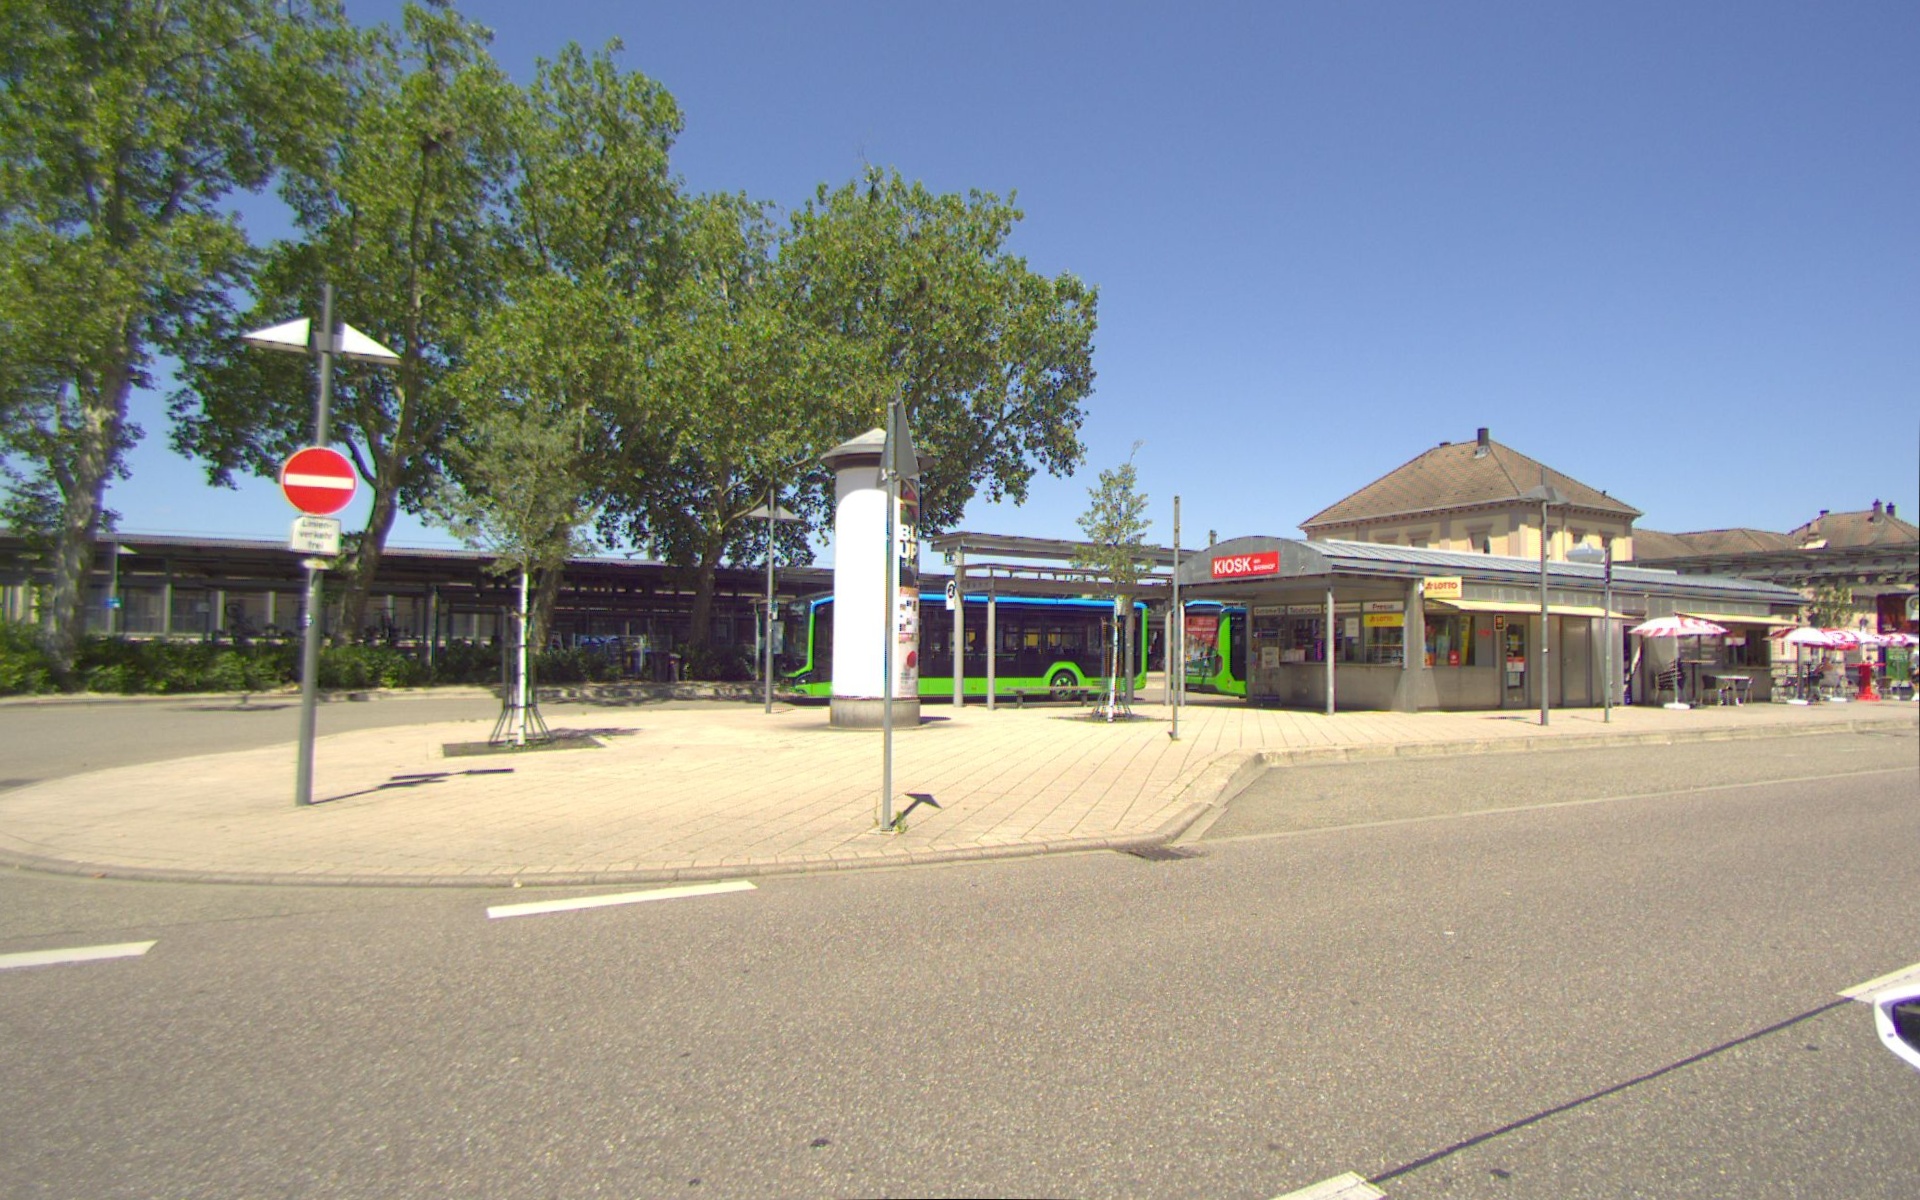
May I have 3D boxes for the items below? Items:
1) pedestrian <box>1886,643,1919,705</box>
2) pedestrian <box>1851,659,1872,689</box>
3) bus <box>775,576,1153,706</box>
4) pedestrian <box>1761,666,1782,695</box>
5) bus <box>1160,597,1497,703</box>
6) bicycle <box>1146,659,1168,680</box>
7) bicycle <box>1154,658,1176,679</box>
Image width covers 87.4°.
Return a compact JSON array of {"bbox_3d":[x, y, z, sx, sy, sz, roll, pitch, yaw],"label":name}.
[{"bbox_3d":[29.350,2.286,30.859,1.122,1.851,0.800,3,-3,-12],"label":"pedestrian"},{"bbox_3d":[52.895,4.329,58.936,0.644,1.694,0.632,1,-3,15],"label":"pedestrian"},{"bbox_3d":[0.464,1.355,31.289,12.061,3.572,2.155,2,-2,-26],"label":"bus"},{"bbox_3d":[28.257,2.806,34.967,0.366,0.985,0.425,3,-3,-16],"label":"pedestrian"},{"bbox_3d":[12.789,1.781,33.805,13.734,3.080,2.662,3,-3,-31],"label":"bus"},{"bbox_3d":[10.436,3.672,53.314,0.381,1.108,1.376,2,-3,-27],"label":"bicycle"},{"bbox_3d":[10.967,3.669,53.649,0.381,1.108,1.376,2,-3,-27],"label":"bicycle"}]
